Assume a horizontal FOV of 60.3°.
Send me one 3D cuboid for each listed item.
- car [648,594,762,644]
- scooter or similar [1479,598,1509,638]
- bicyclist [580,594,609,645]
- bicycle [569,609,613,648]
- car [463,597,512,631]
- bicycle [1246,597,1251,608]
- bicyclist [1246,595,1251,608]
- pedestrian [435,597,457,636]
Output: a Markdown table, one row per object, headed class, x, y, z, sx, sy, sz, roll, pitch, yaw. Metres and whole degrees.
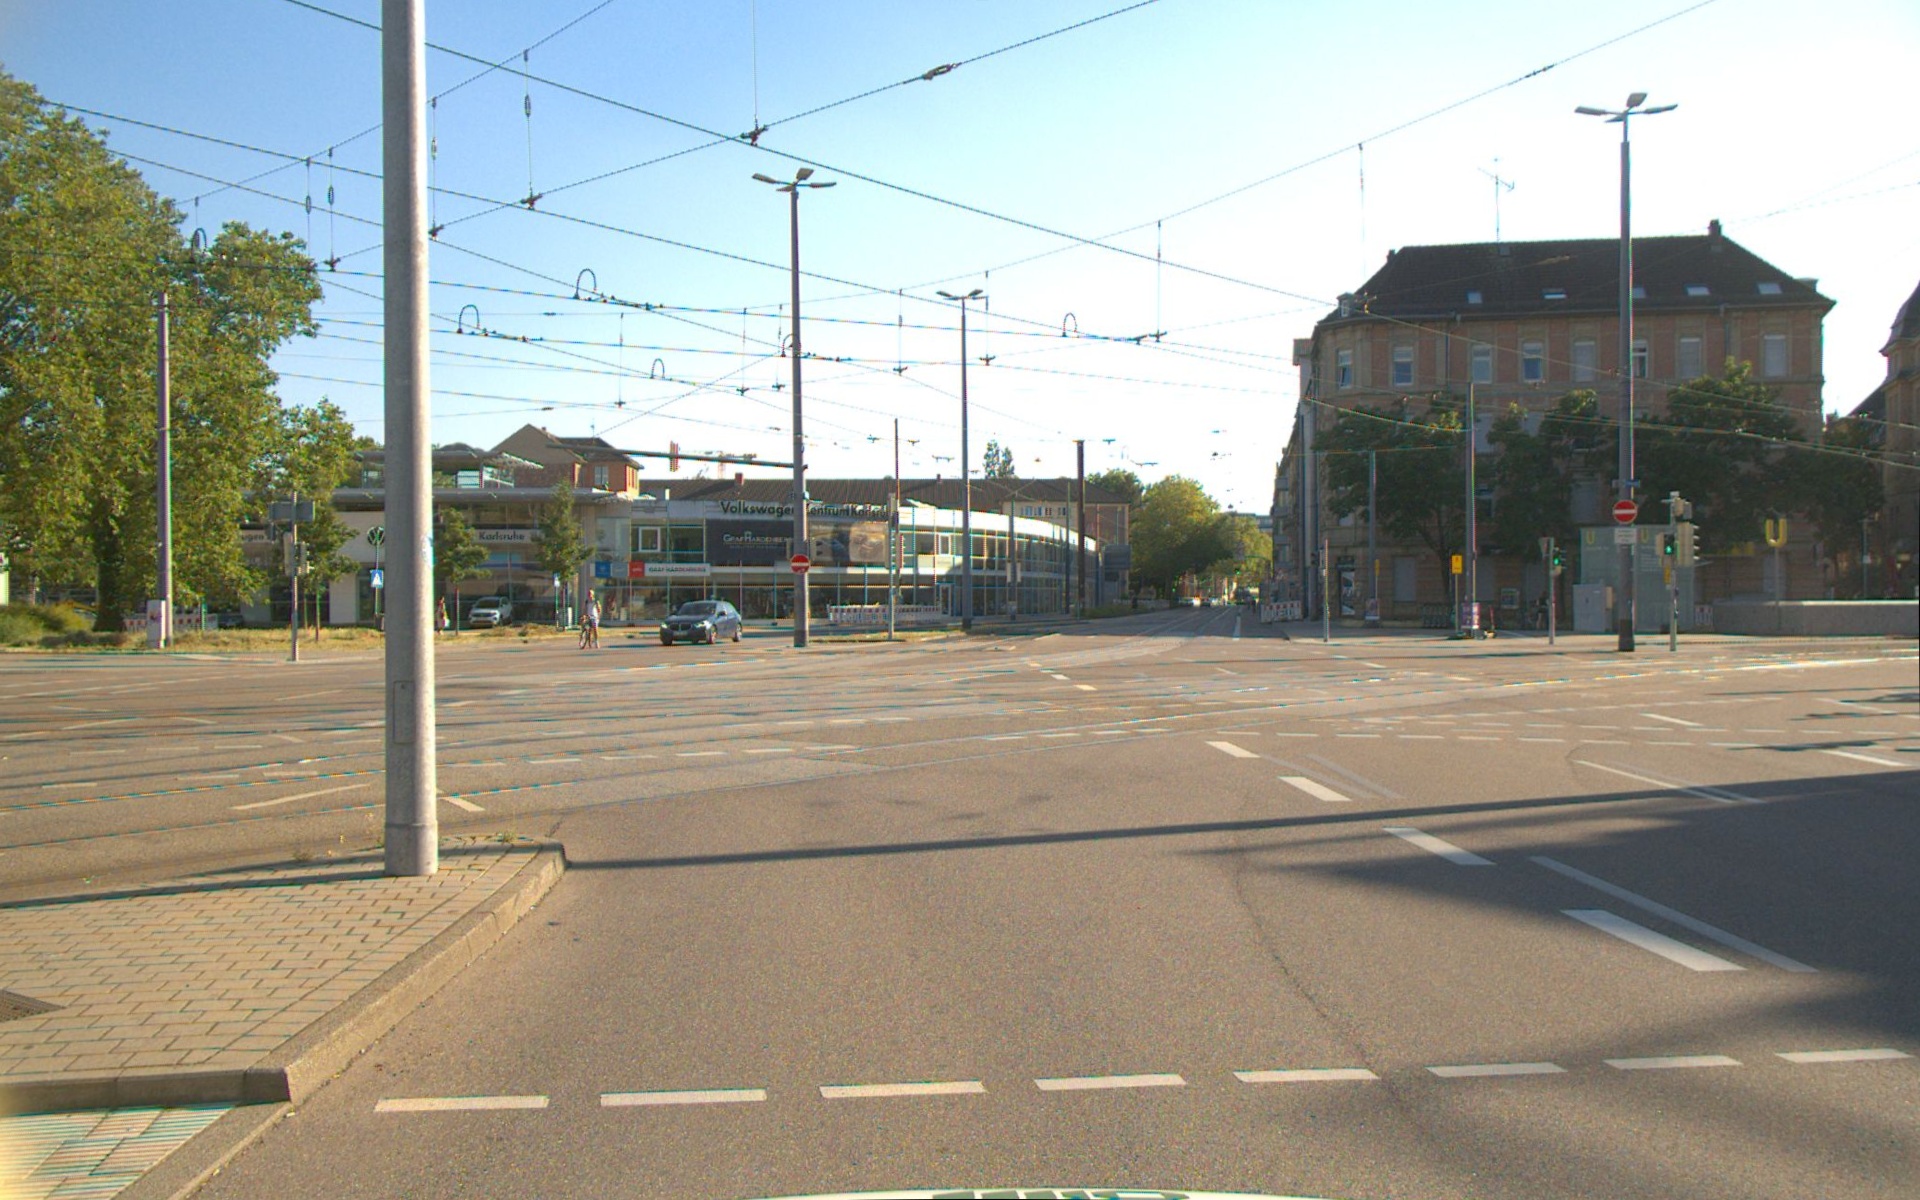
| class | x | y | z | sx | sy | sz | roll | pitch | yaw |
| --- | --- | --- | --- | --- | --- | --- | --- | --- | --- |
| car | -8.566 | 0.651 | 55.951 | 1.953 | 1.613 | 3.998 | 1 | -1 | 24 |
| scooter or similar | 19.090 | 0.652 | 59.147 | 0.769 | 1.400 | 1.910 | 1 | -1 | 11 |
| bicyclist | -11.953 | 0.630 | 54.133 | 0.585 | 1.644 | 0.823 | 1 | -1 | 15 |
| bicycle | -12.010 | 0.927 | 53.910 | 0.599 | 1.210 | 1.870 | 1 | -1 | 14 |
| car | -26.401 | 0.784 | 92.581 | 1.955 | 1.780 | 3.994 | 1 | -1 | -7 |
| bicycle | 25.057 | 0.207 | 143.758 | 0.401 | 0.958 | 1.847 | 1 | -1 | 9 |
| bicyclist | 25.092 | 0.116 | 143.955 | 0.399 | 1.136 | 0.399 | 1 | -1 | 8 |
| pedestrian | -23.556 | 0.759 | 75.745 | 0.840 | 1.724 | 0.496 | 1 | -1 | -6 |
